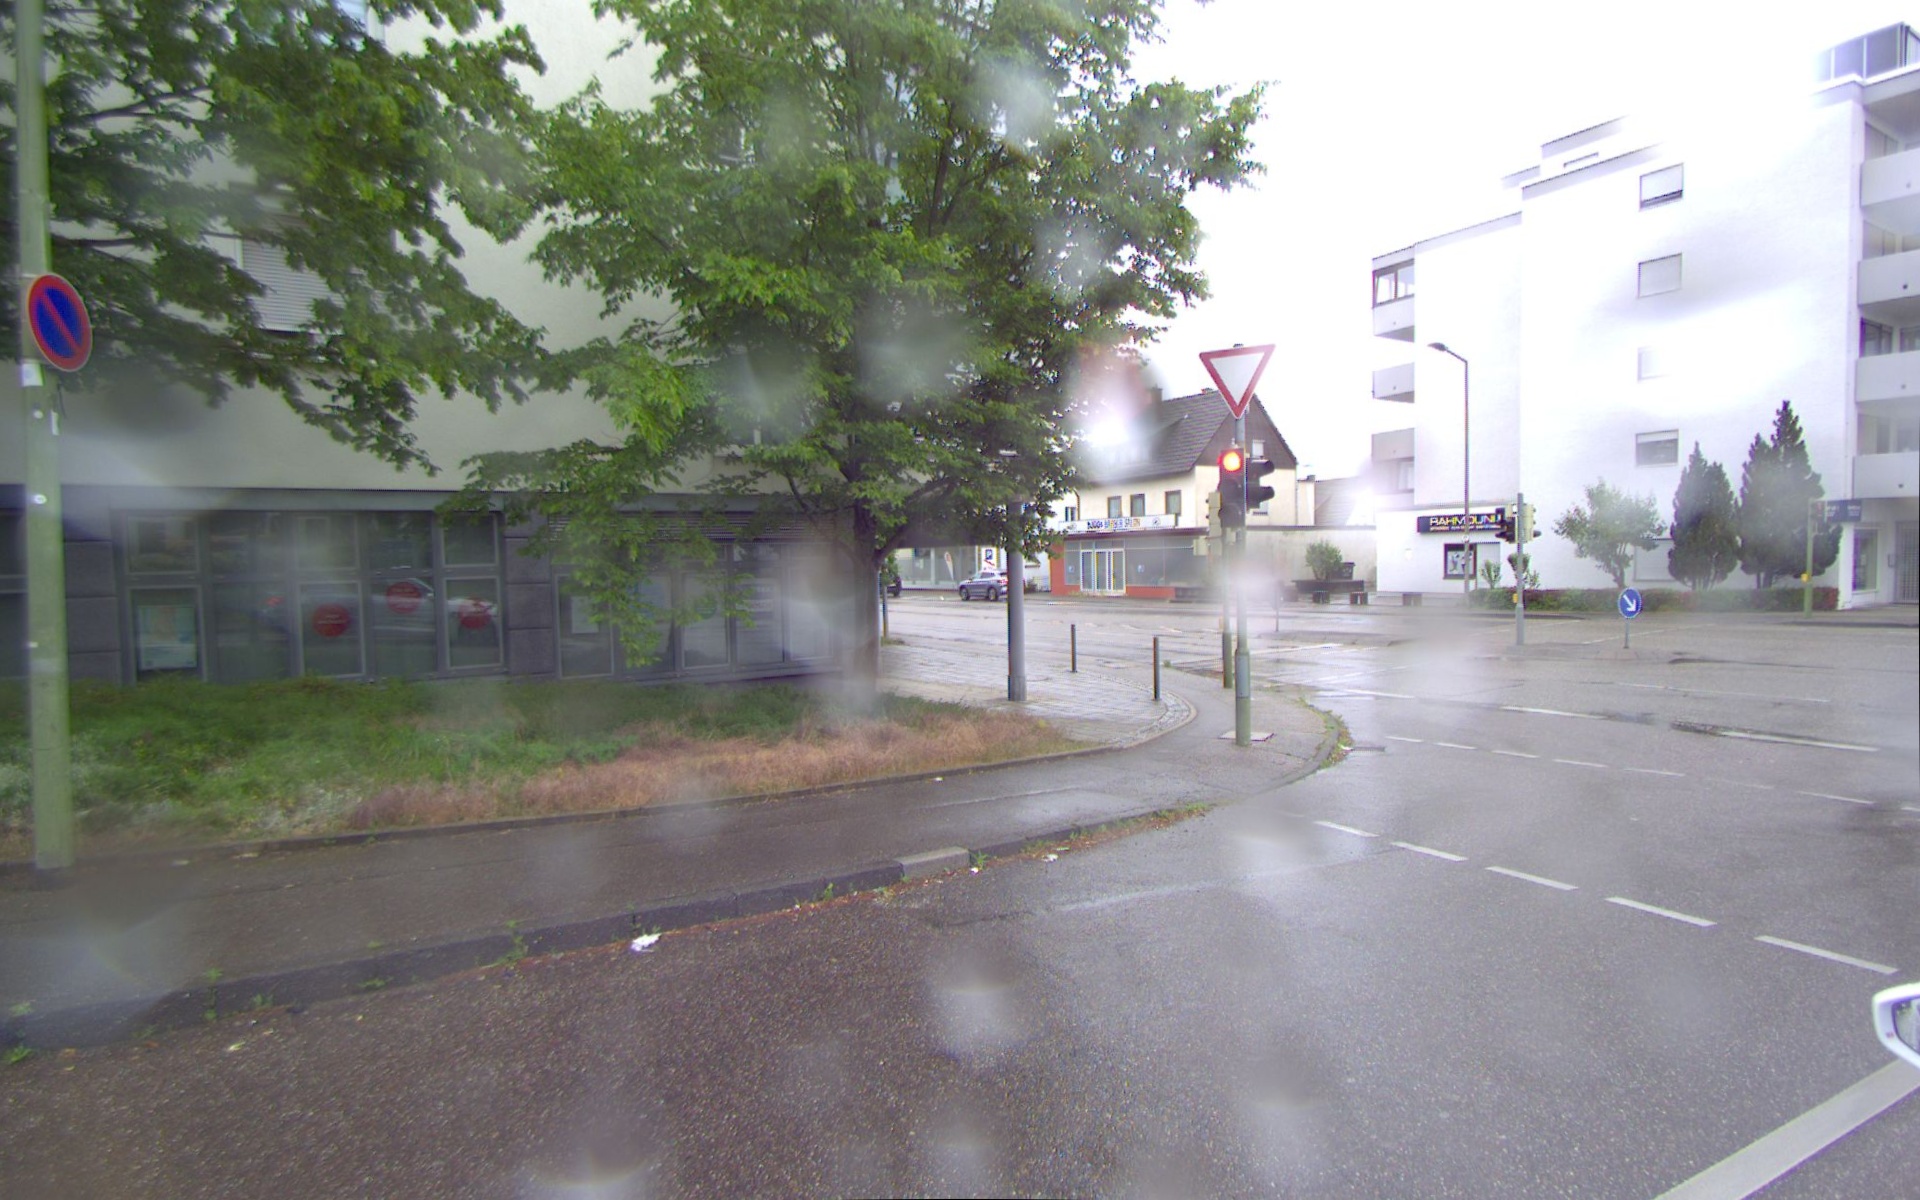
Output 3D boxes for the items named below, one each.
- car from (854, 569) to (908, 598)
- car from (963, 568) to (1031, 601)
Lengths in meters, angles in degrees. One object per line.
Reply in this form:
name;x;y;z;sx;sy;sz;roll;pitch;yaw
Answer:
car;-5.246;-1.129;66.548;2.087;1.719;3.968;-1;4;-30
car;2.022;-0.877;55.916;1.976;1.718;3.968;-1;3;-30
